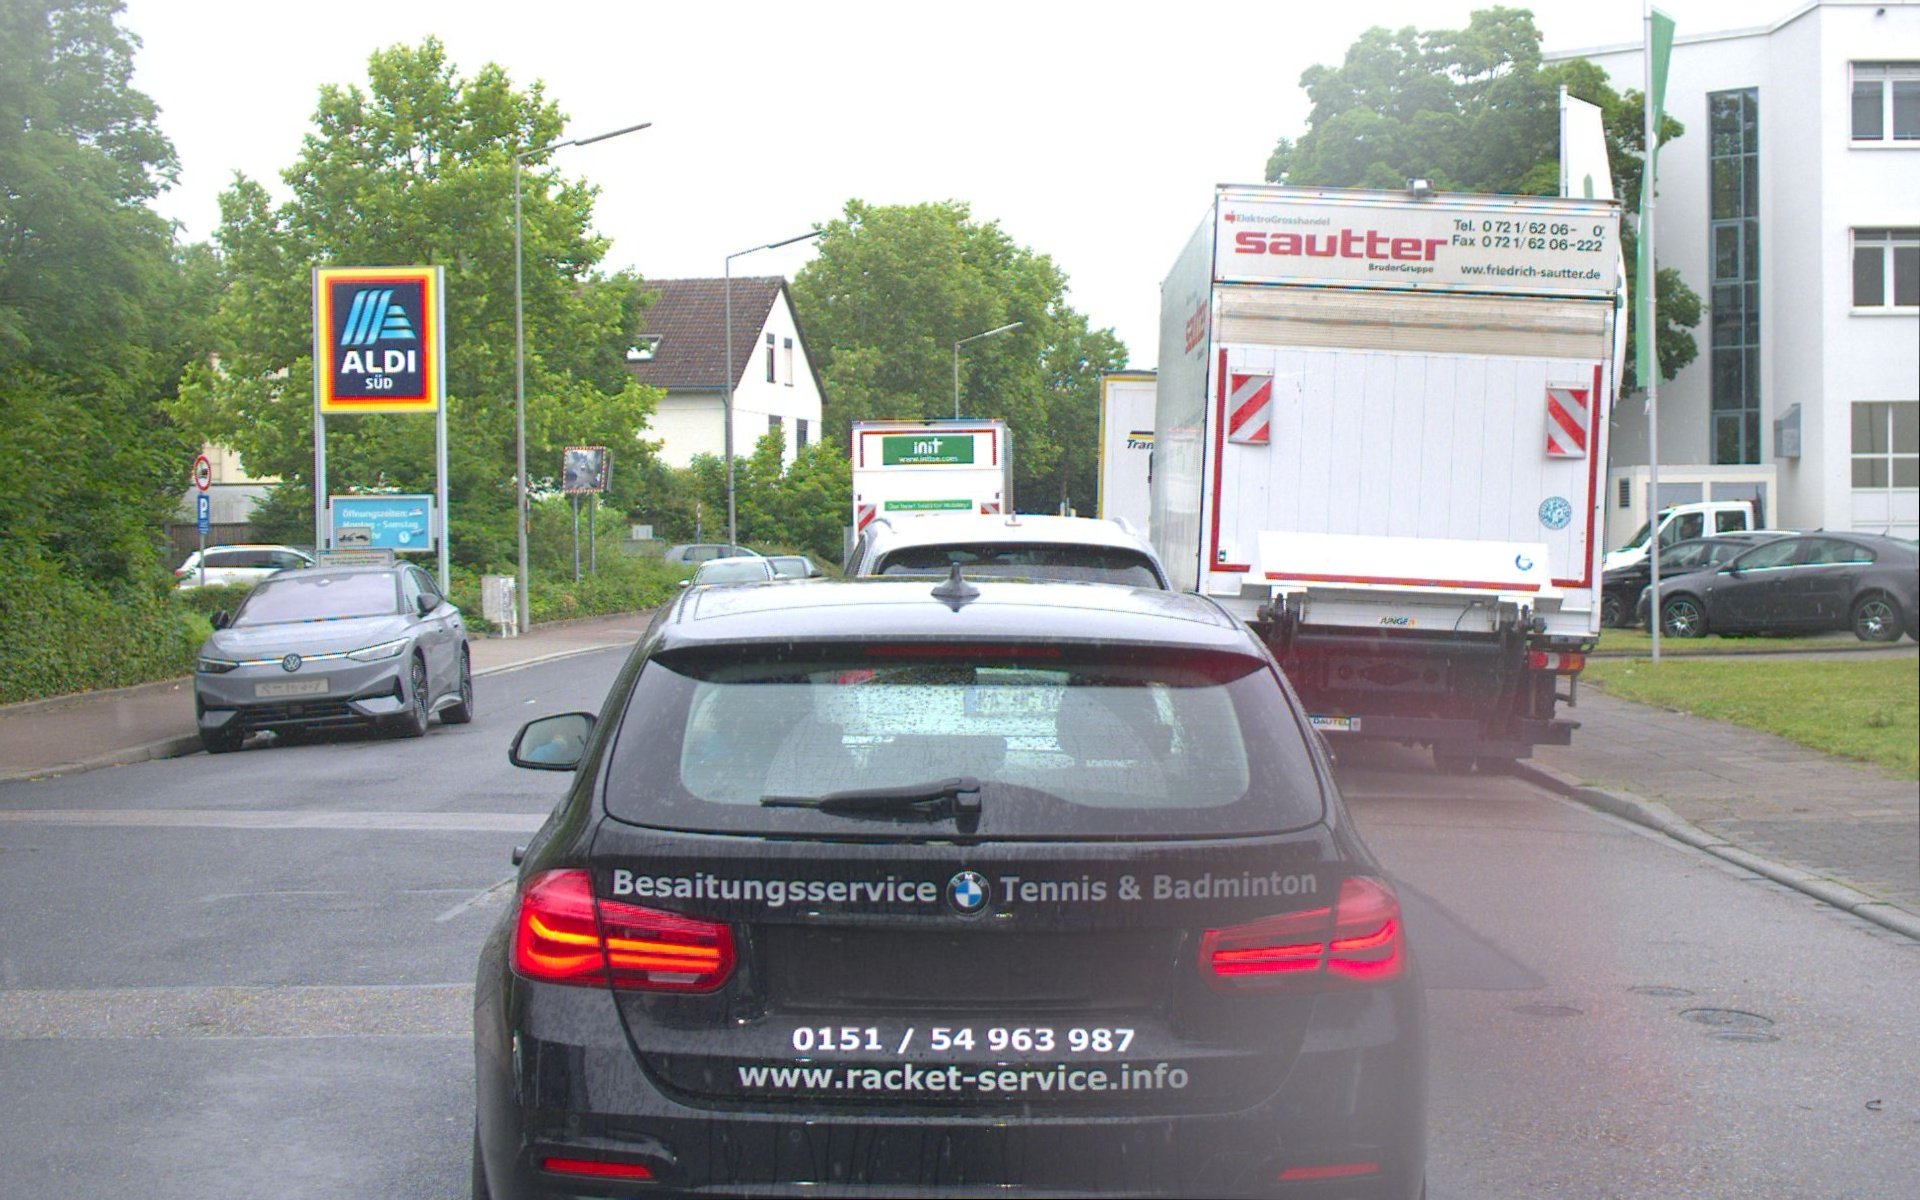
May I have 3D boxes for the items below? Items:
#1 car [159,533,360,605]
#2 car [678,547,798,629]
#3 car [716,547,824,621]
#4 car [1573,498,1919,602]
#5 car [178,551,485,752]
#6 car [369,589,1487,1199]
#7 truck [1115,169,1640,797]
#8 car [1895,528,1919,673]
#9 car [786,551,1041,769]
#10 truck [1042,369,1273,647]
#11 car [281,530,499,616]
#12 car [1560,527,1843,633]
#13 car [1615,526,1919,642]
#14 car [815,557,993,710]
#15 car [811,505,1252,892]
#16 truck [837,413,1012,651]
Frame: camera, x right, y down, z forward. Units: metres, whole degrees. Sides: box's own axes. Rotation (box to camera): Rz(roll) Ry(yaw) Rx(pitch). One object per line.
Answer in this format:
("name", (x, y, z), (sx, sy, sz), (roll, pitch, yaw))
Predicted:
("car", (-15.325, -0.695, 75.323), (3.987, 1.535, 1.911), (0, 1, 1))
("car", (-4.082, -0.258, 63.696), (1.705, 1.362, 4.601), (-3, 1, 2))
("car", (-3.824, -0.345, 69.691), (1.706, 1.362, 3.838), (-3, 1, 4))
("car", (15.724, -0.987, 68.894), (6.452, 2.007, 2.000), (0, 0, -4))
("car", (-5.479, 0.390, 30.548), (1.809, 1.523, 4.748), (-4, 1, -1))
("car", (-0.112, 0.692, 7.564), (1.804, 1.390, 4.000), (0, 1, -2))
("truck", (2.788, -0.803, 25.892), (2.741, 3.776, 9.299), (2, 1, 0))
("car", (10.940, -0.026, 33.816), (3.758, 1.388, 1.705), (-2, 2, -44))
("car", (-0.392, 0.406, 26.518), (1.804, 1.547, 4.000), (0, 1, -2))
("truck", (2.709, -1.291, 49.488), (2.741, 3.598, 7.750), (2, 1, 0))
("car", (-10.241, -0.495, 61.897), (3.570, 1.455, 1.712), (1, 1, 2))
("car", (11.235, -0.331, 52.207), (3.777, 1.392, 1.723), (4, 4, 40))
("car", (11.198, -0.229, 45.499), (4.671, 1.463, 1.787), (0, 1, 38))
("car", (-0.631, 0.321, 37.105), (1.804, 1.547, 4.000), (0, 1, -2))
("car", (0.231, 0.385, 16.144), (1.804, 1.581, 4.000), (0, 1, -2))
("truck", (-0.480, -1.165, 52.440), (2.341, 3.245, 7.751), (2, 3, 0))
